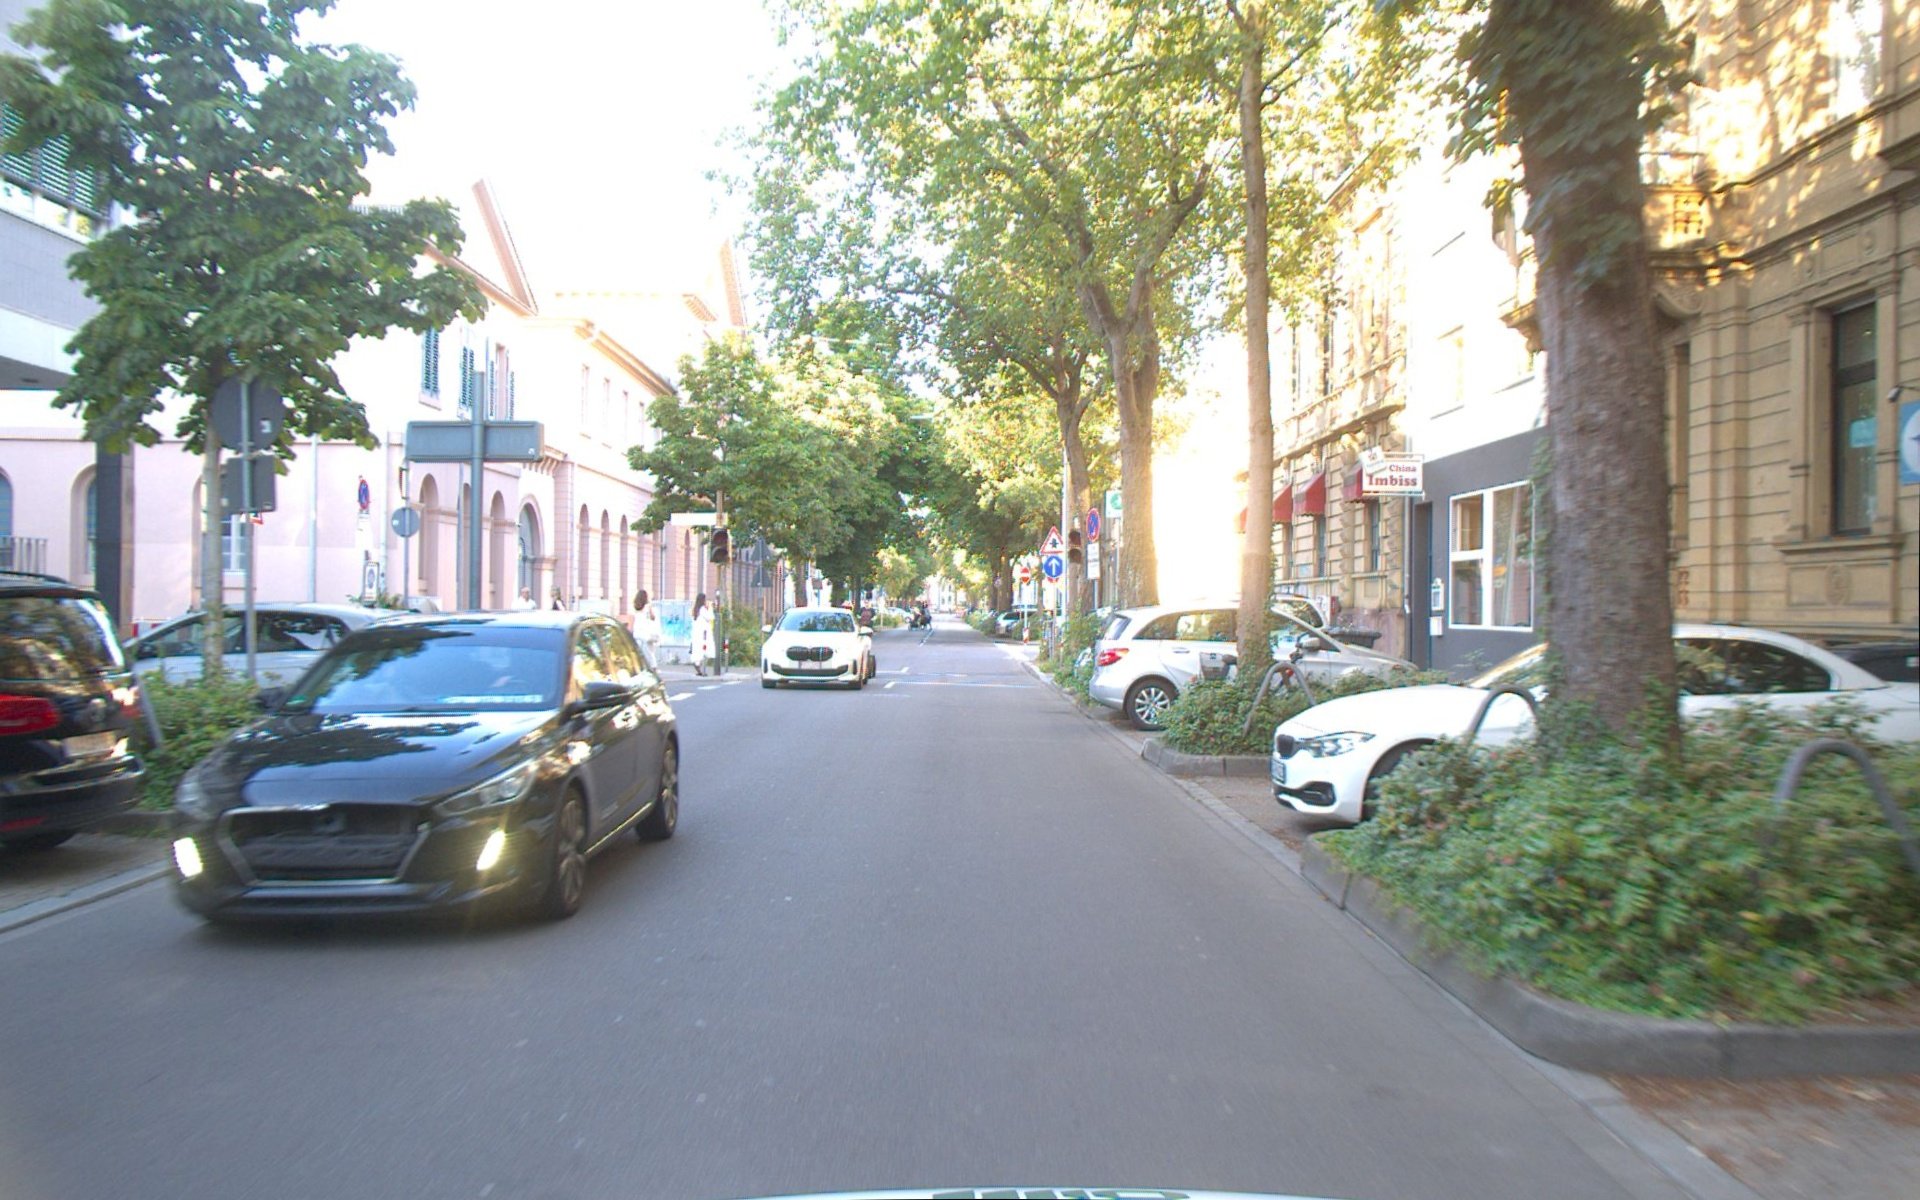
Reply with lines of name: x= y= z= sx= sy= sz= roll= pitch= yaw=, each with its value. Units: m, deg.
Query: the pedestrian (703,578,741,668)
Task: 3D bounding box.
pedestrian: x=-5.174 y=0.494 z=35.984 sx=0.755 sy=1.921 sz=0.790 roll=1 pitch=-1 yaw=-12

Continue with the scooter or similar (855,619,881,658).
scooter or similar: x=-2.772 y=1.171 z=50.035 sx=0.491 sy=1.165 sz=1.251 roll=0 pitch=-1 yaw=10

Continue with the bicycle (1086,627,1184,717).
bicycle: x=2.452 y=0.998 z=23.200 sx=1.310 sy=1.225 sz=0.488 roll=-1 pitch=-1 yaw=-1

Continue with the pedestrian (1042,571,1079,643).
pedestrian: x=3.100 y=0.221 z=51.082 sx=1.022 sy=2.184 sz=1.063 roll=2 pitch=-1 yaw=0

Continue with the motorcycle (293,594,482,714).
motorcycle: x=-7.172 y=0.659 z=20.729 sx=2.104 sy=1.444 sz=0.968 roll=0 pitch=-1 yaw=21

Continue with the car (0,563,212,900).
car: x=-6.608 y=0.601 z=9.144 sx=4.009 sy=1.660 sz=1.936 roll=2 pitch=0 yaw=1

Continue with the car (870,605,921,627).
car: x=-6.478 y=1.615 z=166.820 sx=4.959 sy=2.119 sz=2.263 roll=0 pitch=0 yaw=1

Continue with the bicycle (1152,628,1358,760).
bicycle: x=2.960 y=0.927 z=16.621 sx=1.984 sy=1.225 sz=0.487 roll=-1 pitch=-1 yaw=-13

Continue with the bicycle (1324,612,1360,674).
bicycle: x=7.818 y=0.864 z=33.864 sx=0.377 sy=1.232 sz=1.726 roll=0 pitch=-1 yaw=2

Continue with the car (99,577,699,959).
car: x=-2.669 y=0.706 z=9.022 sx=1.838 sy=1.576 sz=4.274 roll=0 pitch=0 yaw=0

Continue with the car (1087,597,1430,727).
car: x=3.747 y=0.766 z=21.384 sx=4.136 sy=1.587 sz=1.971 roll=0 pitch=0 yaw=3

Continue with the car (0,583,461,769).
car: x=-6.796 y=0.676 z=15.486 sx=3.666 sy=1.484 sz=1.734 roll=3 pitch=0 yaw=-1

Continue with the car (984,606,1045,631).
car: x=3.550 y=1.216 z=108.346 sx=3.933 sy=1.651 sz=1.780 roll=0 pitch=0 yaw=-2

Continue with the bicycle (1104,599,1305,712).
bicycle: x=3.859 y=0.869 z=26.183 sx=3.052 sy=1.692 sz=0.658 roll=1 pitch=-1 yaw=-5

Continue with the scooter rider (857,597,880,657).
scooter rider: x=-2.762 y=0.818 z=50.048 sx=0.484 sy=1.823 sz=0.875 roll=0 pitch=-1 yaw=10

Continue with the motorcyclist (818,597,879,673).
motorcyclist: x=-2.431 y=0.757 z=36.289 sx=1.254 sy=1.620 sz=1.077 roll=0 pitch=-1 yaw=0

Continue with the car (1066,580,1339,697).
car: x=4.185 y=0.654 z=29.001 sx=4.449 sy=1.948 sz=1.949 roll=0 pitch=0 yaw=-3

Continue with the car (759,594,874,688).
car: x=-2.554 y=0.705 z=30.291 sx=1.839 sy=1.576 sz=4.273 roll=0 pitch=0 yaw=-1

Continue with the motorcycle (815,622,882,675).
motorcycle: x=-2.419 y=1.064 z=36.272 sx=1.285 sy=1.109 sz=2.396 roll=0 pitch=-2 yaw=0

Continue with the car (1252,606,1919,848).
car: x=4.353 y=0.782 z=11.111 sx=4.488 sy=1.462 sz=1.925 roll=0 pitch=0 yaw=1

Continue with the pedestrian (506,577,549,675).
pedestrian: x=-8.385 y=0.502 z=32.076 sx=0.542 sy=1.883 sz=0.612 roll=1 pitch=0 yaw=14

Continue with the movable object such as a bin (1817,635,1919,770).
movable object such as a bin: x=7.555 y=0.832 z=13.636 sx=0.644 sy=1.083 sz=0.615 roll=-1 pitch=-1 yaw=-1

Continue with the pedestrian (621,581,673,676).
pedestrian: x=-6.159 y=0.551 z=32.576 sx=0.774 sy=1.822 sz=0.771 roll=3 pitch=0 yaw=2

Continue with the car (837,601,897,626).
car: x=-7.939 y=1.151 z=141.369 sx=4.961 sy=2.119 sz=2.262 roll=0 pitch=0 yaw=-1

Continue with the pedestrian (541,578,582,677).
pedestrian: x=-7.696 y=0.514 z=31.950 sx=0.542 sy=1.882 sz=0.612 roll=1 pitch=1 yaw=14

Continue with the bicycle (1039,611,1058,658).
bicycle: x=2.685 y=1.044 z=50.155 sx=0.407 sy=1.396 sz=1.289 roll=0 pitch=0 yaw=11

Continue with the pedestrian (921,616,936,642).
pedestrian: x=-2.067 y=1.886 z=108.755 sx=0.856 sy=1.679 sz=0.655 roll=1 pitch=-1 yaw=7

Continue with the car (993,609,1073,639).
car: x=3.853 y=1.264 z=87.574 sx=4.107 sy=1.506 sz=1.852 roll=-1 pitch=0 yaw=-1
